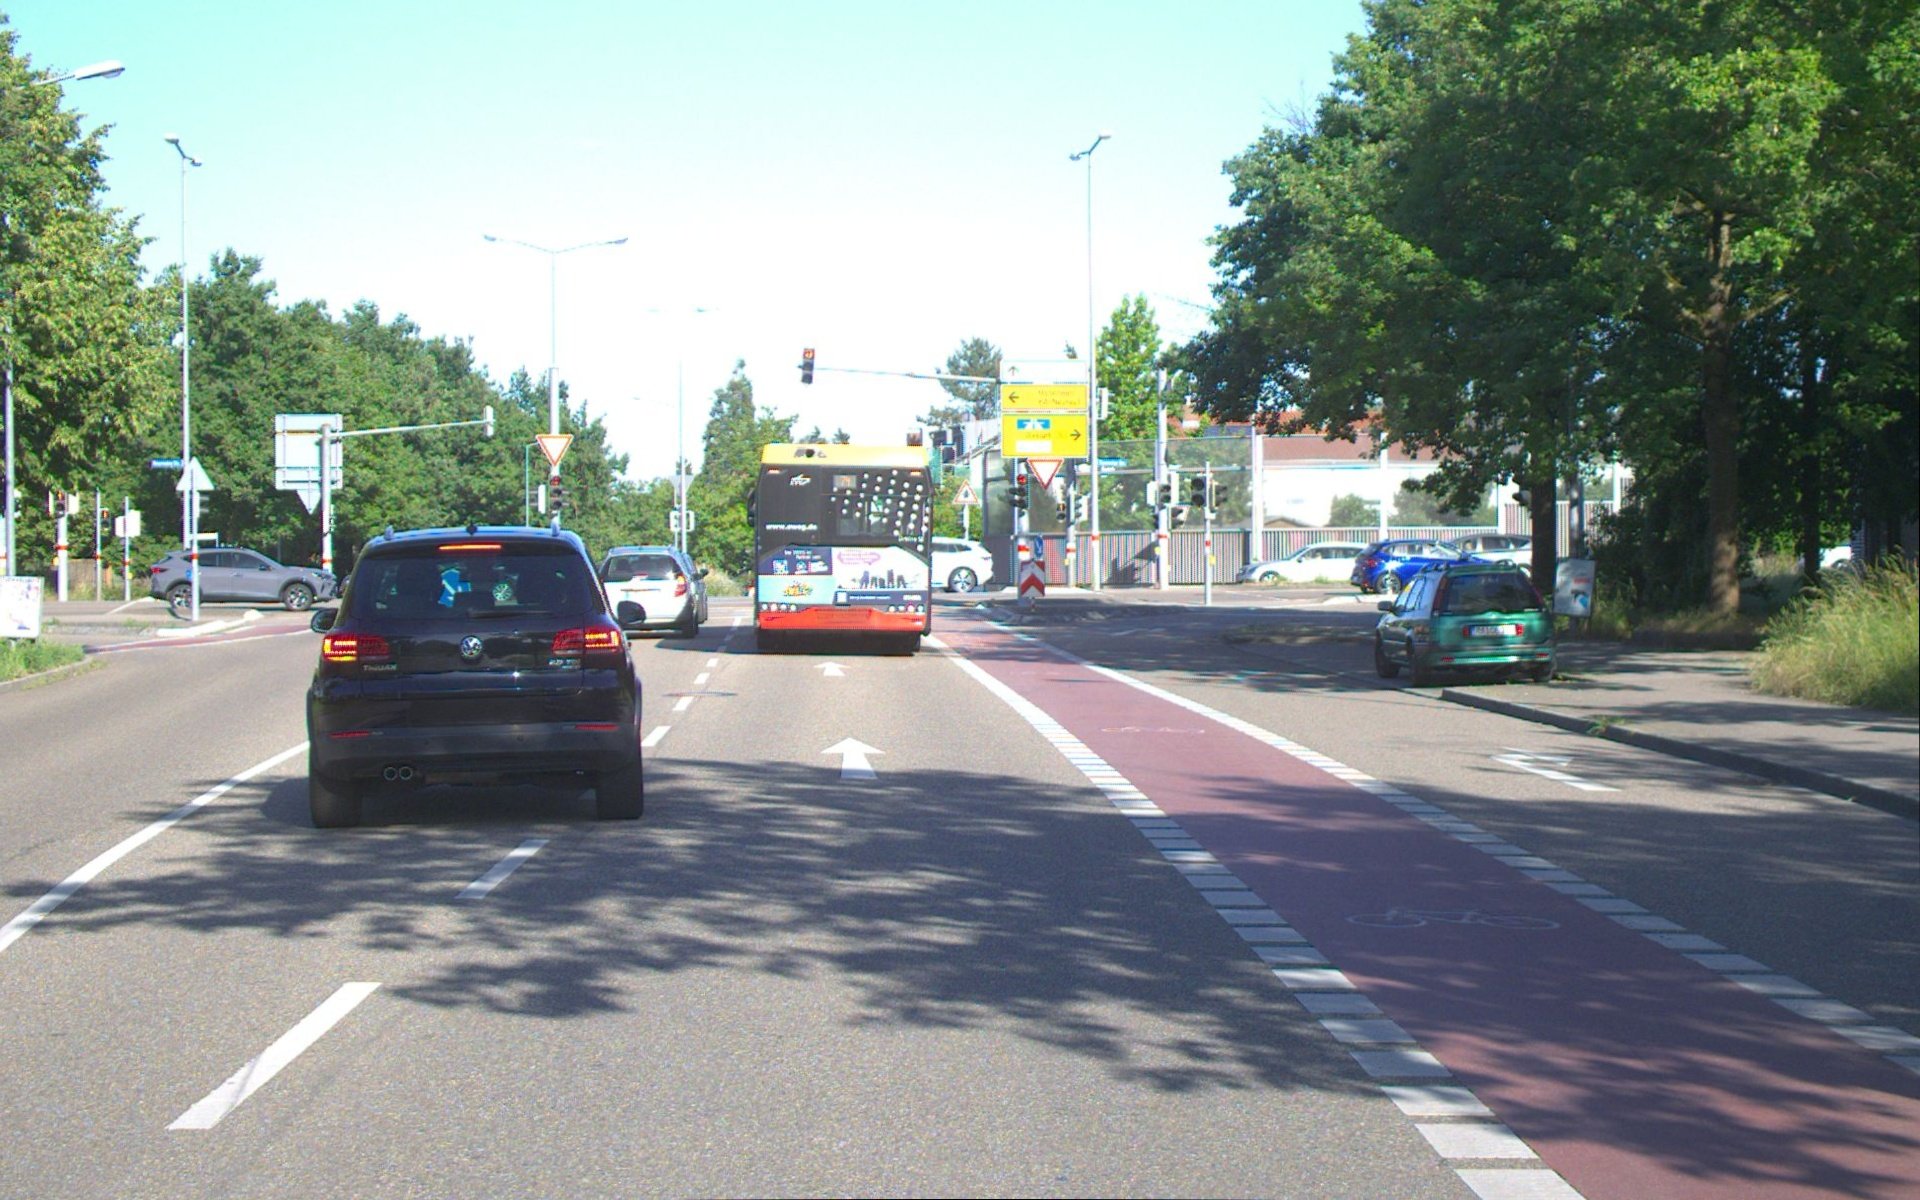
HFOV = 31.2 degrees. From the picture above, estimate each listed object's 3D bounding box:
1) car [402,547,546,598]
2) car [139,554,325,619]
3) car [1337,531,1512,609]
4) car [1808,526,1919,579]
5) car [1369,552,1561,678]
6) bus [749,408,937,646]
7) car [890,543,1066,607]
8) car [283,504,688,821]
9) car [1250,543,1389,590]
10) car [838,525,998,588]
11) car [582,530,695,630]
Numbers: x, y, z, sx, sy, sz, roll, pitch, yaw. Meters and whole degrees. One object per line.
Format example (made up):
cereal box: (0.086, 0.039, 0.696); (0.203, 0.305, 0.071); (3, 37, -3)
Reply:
car: (-13.599, -0.751, 96.068); (3.891, 1.335, 1.683); (1, 0, -10)
car: (-17.550, -0.323, 83.008); (4.220, 1.475, 1.764); (1, 0, -6)
car: (11.751, -0.741, 87.130); (3.986, 1.873, 2.000); (1, 0, -6)
car: (27.712, -1.412, 101.687); (4.701, 1.535, 2.000); (0, 1, -6)
car: (6.073, 0.153, 41.748); (1.592, 1.424, 4.204); (-1, 1, -1)
bus: (-1.899, -1.145, 54.813); (2.596, 3.323, 11.985); (1, 1, -2)
car: (0.392, -0.529, 71.715); (3.523, 1.298, 1.574); (1, 1, 7)
car: (-2.666, 0.326, 20.173); (1.821, 1.668, 4.003); (0, 0, 0)
car: (10.775, -0.998, 103.070); (3.845, 1.335, 1.683); (1, 0, -7)
car: (-1.199, -1.238, 97.937); (4.382, 1.677, 1.712); (1, 0, -6)
car: (-5.626, -0.379, 59.820); (1.753, 1.614, 4.035); (0, 2, -8)
